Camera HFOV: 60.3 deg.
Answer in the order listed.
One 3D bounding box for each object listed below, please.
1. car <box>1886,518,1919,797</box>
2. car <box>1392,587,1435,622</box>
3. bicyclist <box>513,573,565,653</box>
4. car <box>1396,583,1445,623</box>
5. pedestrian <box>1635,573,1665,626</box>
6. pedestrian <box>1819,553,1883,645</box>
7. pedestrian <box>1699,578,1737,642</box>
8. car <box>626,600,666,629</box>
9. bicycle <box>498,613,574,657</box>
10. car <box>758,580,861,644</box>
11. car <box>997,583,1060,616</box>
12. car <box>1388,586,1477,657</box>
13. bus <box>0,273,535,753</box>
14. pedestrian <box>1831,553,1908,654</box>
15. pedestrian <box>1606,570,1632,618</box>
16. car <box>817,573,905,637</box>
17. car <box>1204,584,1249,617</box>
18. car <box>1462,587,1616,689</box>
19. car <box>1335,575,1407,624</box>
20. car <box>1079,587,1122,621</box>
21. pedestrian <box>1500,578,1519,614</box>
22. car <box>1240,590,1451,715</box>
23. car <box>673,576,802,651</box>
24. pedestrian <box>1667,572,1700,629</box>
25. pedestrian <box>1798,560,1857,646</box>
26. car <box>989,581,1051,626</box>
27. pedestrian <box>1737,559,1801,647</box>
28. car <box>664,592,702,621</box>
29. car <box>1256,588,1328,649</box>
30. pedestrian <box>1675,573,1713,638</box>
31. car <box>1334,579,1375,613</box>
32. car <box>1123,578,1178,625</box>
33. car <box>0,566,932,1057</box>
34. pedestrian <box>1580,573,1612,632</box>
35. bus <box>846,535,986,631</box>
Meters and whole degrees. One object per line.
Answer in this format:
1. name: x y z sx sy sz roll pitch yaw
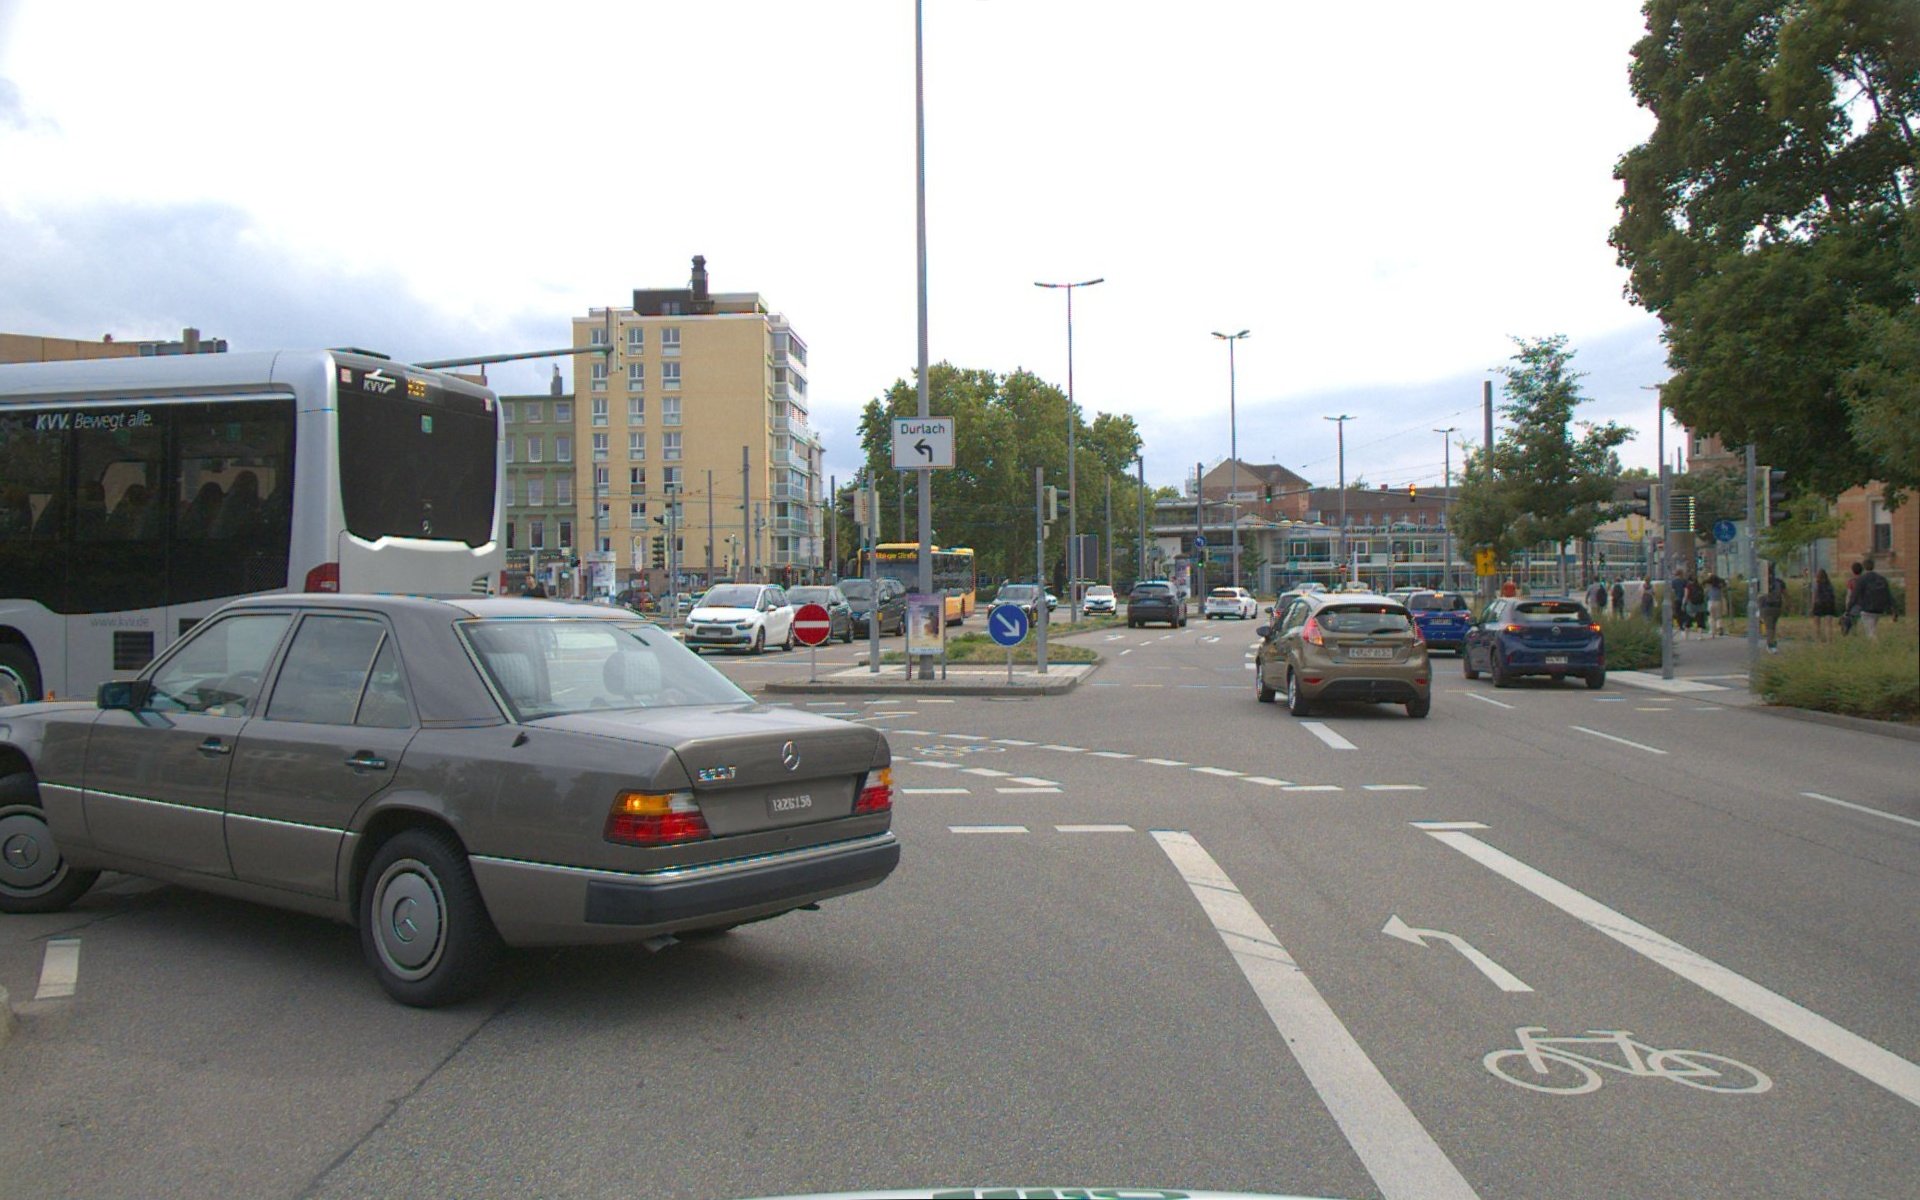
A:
1. car: 7.709 0.420 9.628 1.782 1.994 5.205 1 0 1
2. car: 19.207 0.187 70.147 1.667 1.445 3.703 1 0 14
3. bicyclist: -9.085 0.272 35.710 0.848 1.698 0.881 1 0 3
4. car: 17.661 0.116 63.570 1.667 1.445 3.703 1 0 14
5. pedestrian: 21.110 -0.016 50.600 0.762 1.601 0.812 -2 0 20
6. pedestrian: 17.323 -0.017 32.168 0.762 1.741 0.812 1 0 -3
7. pedestrian: 19.382 0.247 42.309 0.762 1.601 0.812 -2 0 20
8. car: -23.120 1.062 121.775 1.952 2.049 4.002 1 0 3
9. bicycle: -9.106 0.742 35.661 0.844 0.892 2.520 1 0 3
10. car: -4.208 0.327 46.949 1.951 1.680 4.293 1 0 8
11. car: 4.296 -0.038 104.374 1.977 2.049 3.951 1 0 -35
12. car: 11.123 0.491 39.108 1.818 1.559 4.005 1 0 13
13. bus: -10.805 -0.432 15.592 13.841 3.498 2.715 -2 0 19
14. pedestrian: 16.001 0.063 29.120 0.762 1.741 1.027 1 0 -3
15. pedestrian: 22.953 -0.211 57.595 0.762 1.601 0.812 -2 0 20
16. car: -3.095 0.154 52.811 1.951 1.932 4.293 1 0 8
17. car: 12.095 0.037 75.039 1.674 1.445 4.003 1 0 14
18. car: 9.503 0.588 27.389 1.631 1.534 3.637 1 0 7
19. car: 12.791 0.000 51.547 2.087 1.445 3.703 1 0 14
20. car: 7.428 0.210 87.250 1.951 1.680 4.516 1 0 8
21. pedestrian: 25.245 -0.199 75.999 0.762 1.601 0.812 -2 0 20
22. car: 4.771 0.609 20.980 1.661 1.429 3.698 1 0 -3
23. car: -5.269 0.307 39.804 1.951 1.680 4.293 1 0 8
24. pedestrian: 20.909 0.019 47.798 0.762 1.601 0.812 -2 0 20
25. pedestrian: 17.931 0.057 34.183 0.762 1.741 0.812 1 0 -3
26. car: 2.386 0.121 65.008 1.951 1.680 4.516 1 0 8
27. pedestrian: 16.508 0.062 33.771 0.762 1.741 1.027 1 0 -3
28. car: -20.378 0.458 121.830 1.952 2.049 4.002 1 0 3
29. car: 8.441 0.446 41.858 1.674 1.445 4.003 1 0 13
30. pedestrian: 18.477 0.129 41.645 0.762 1.601 0.812 -2 0 20
31. car: 17.365 -0.169 72.711 1.674 1.445 4.003 1 0 14
32. car: 6.987 0.062 60.516 1.795 1.643 3.549 1 0 9
33. car: -2.372 0.634 7.031 4.325 1.506 1.695 1 0 34
34. pedestrian: 17.909 0.069 46.576 0.762 1.601 0.812 -2 0 20
35. bus: -1.450 -0.584 64.134 3.080 3.312 12.424 1 0 9
